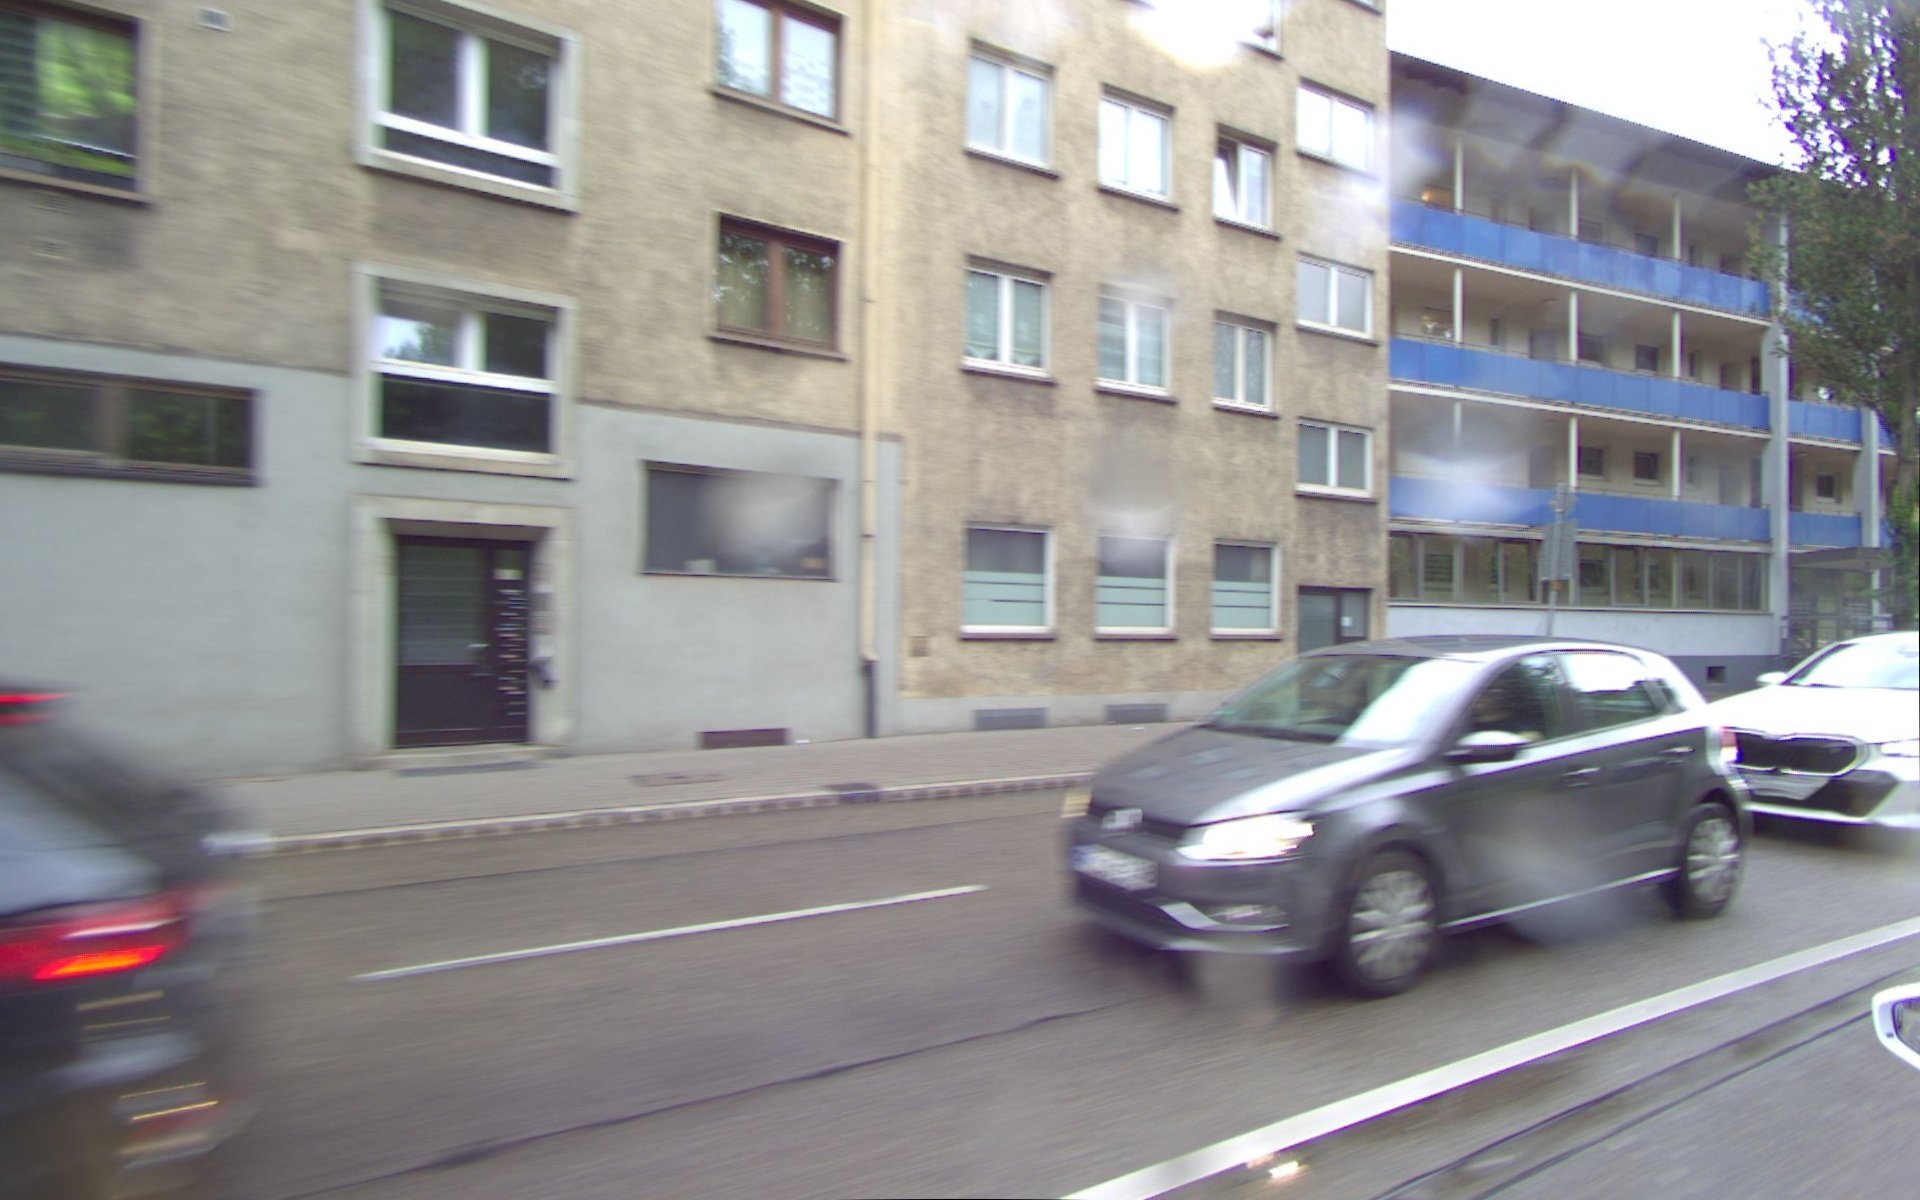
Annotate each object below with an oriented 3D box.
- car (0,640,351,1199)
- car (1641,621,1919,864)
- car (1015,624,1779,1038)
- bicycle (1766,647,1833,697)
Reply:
[{"bbox_3d":[-3.720,0.779,1.663,4.572,1.425,1.782,2,-2,-31],"label":"car"},{"bbox_3d":[7.995,0.984,8.137,4.960,1.536,1.815,1,-3,-25],"label":"car"},{"bbox_3d":[2.320,0.896,5.227,3.772,1.466,1.673,1,-3,-28],"label":"car"},{"bbox_3d":[18.284,1.551,21.863,1.714,1.037,0.609,1,-2,-32],"label":"bicycle"}]
